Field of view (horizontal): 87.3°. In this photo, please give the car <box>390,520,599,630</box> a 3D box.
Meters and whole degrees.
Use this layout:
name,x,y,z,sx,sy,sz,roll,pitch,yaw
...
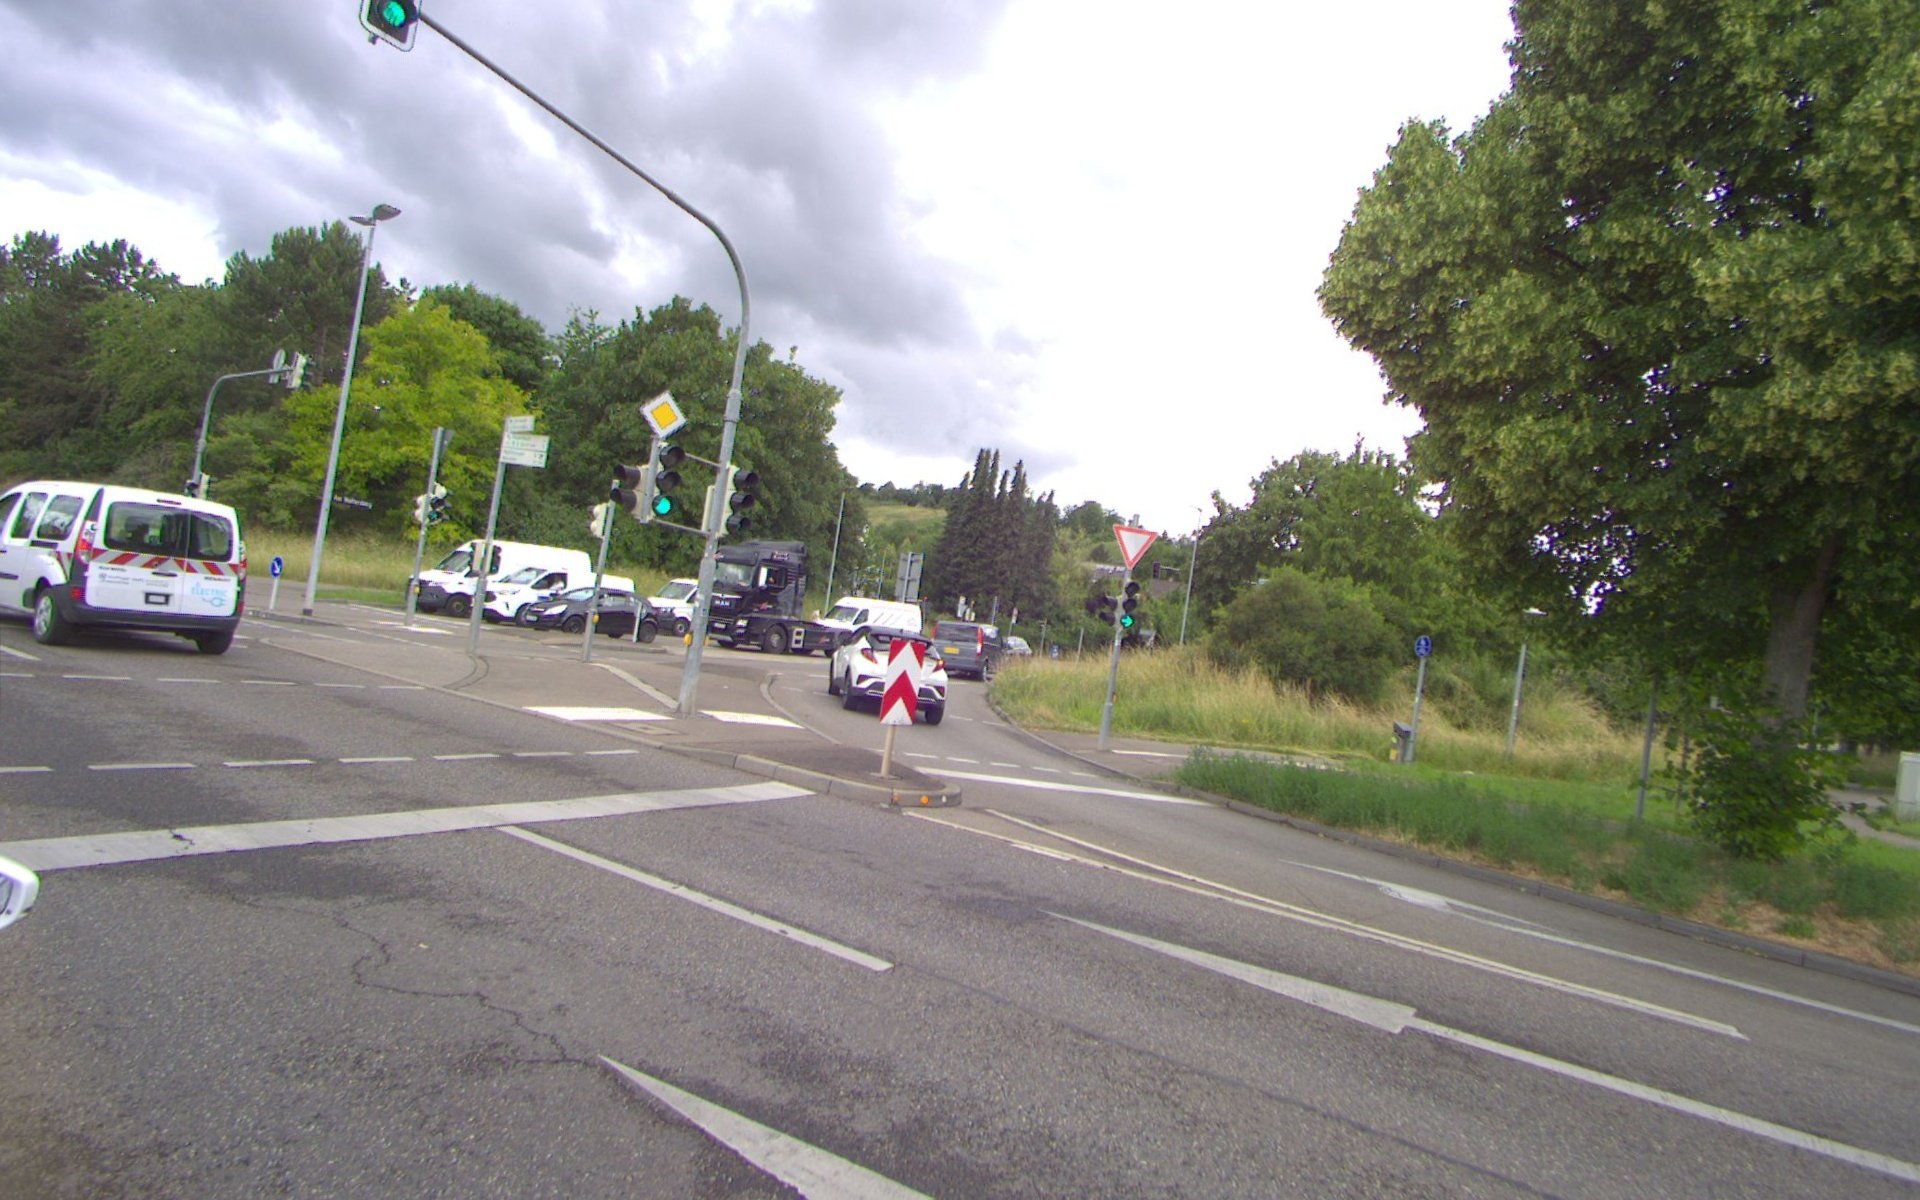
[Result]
name,x,y,z,sx,sy,sz,roll,pitch,yaw
car,-15.332,-0.737,33.593,2.100,2.814,5.903,7,-1,32

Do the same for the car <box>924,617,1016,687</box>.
name,x,y,z,sx,sy,sz,roll,pitch,yaw
car,0.452,1.859,34.644,1.886,1.852,4.734,9,-4,15

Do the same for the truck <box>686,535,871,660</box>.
name,x,y,z,sx,sy,sz,roll,pitch,yaw
truck,-6.207,0.023,35.335,2.682,3.580,6.061,7,-1,32

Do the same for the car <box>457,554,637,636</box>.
name,x,y,z,sx,sy,sz,roll,pitch,yaw
car,-12.929,-0.096,31.811,1.999,1.918,4.862,7,-1,31

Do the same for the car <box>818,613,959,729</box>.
name,x,y,z,sx,sy,sz,roll,pitch,yaw
car,-1.477,1.230,18.943,1.760,1.552,4.294,10,-1,-13

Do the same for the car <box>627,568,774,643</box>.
name,x,y,z,sx,sy,sz,roll,pitch,yaw
car,-10.421,0.289,40.900,2.100,2.316,5.709,7,-1,32

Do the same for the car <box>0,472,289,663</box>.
name,x,y,z,sx,sy,sz,roll,pitch,yaw
car,-10.520,-0.461,12.281,4.760,1.823,1.997,6,-2,33

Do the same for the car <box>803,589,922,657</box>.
name,x,y,z,sx,sy,sz,roll,pitch,yaw
car,-4.728,1.219,50.137,2.160,2.640,6.509,7,-1,32

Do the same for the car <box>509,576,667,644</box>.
name,x,y,z,sx,sy,sz,roll,pitch,yaw
car,-10.602,0.334,28.924,1.703,1.453,3.927,7,-1,31

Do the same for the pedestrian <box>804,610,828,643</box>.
name,x,y,z,sx,sy,sz,roll,pitch,yaw
pedestrian,-8.147,1.506,56.890,0.803,1.696,0.790,7,-1,31

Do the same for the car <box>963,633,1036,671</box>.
name,x,y,z,sx,sy,sz,roll,pitch,yaw
car,1.950,2.556,48.728,1.703,1.453,3.927,7,-1,31
